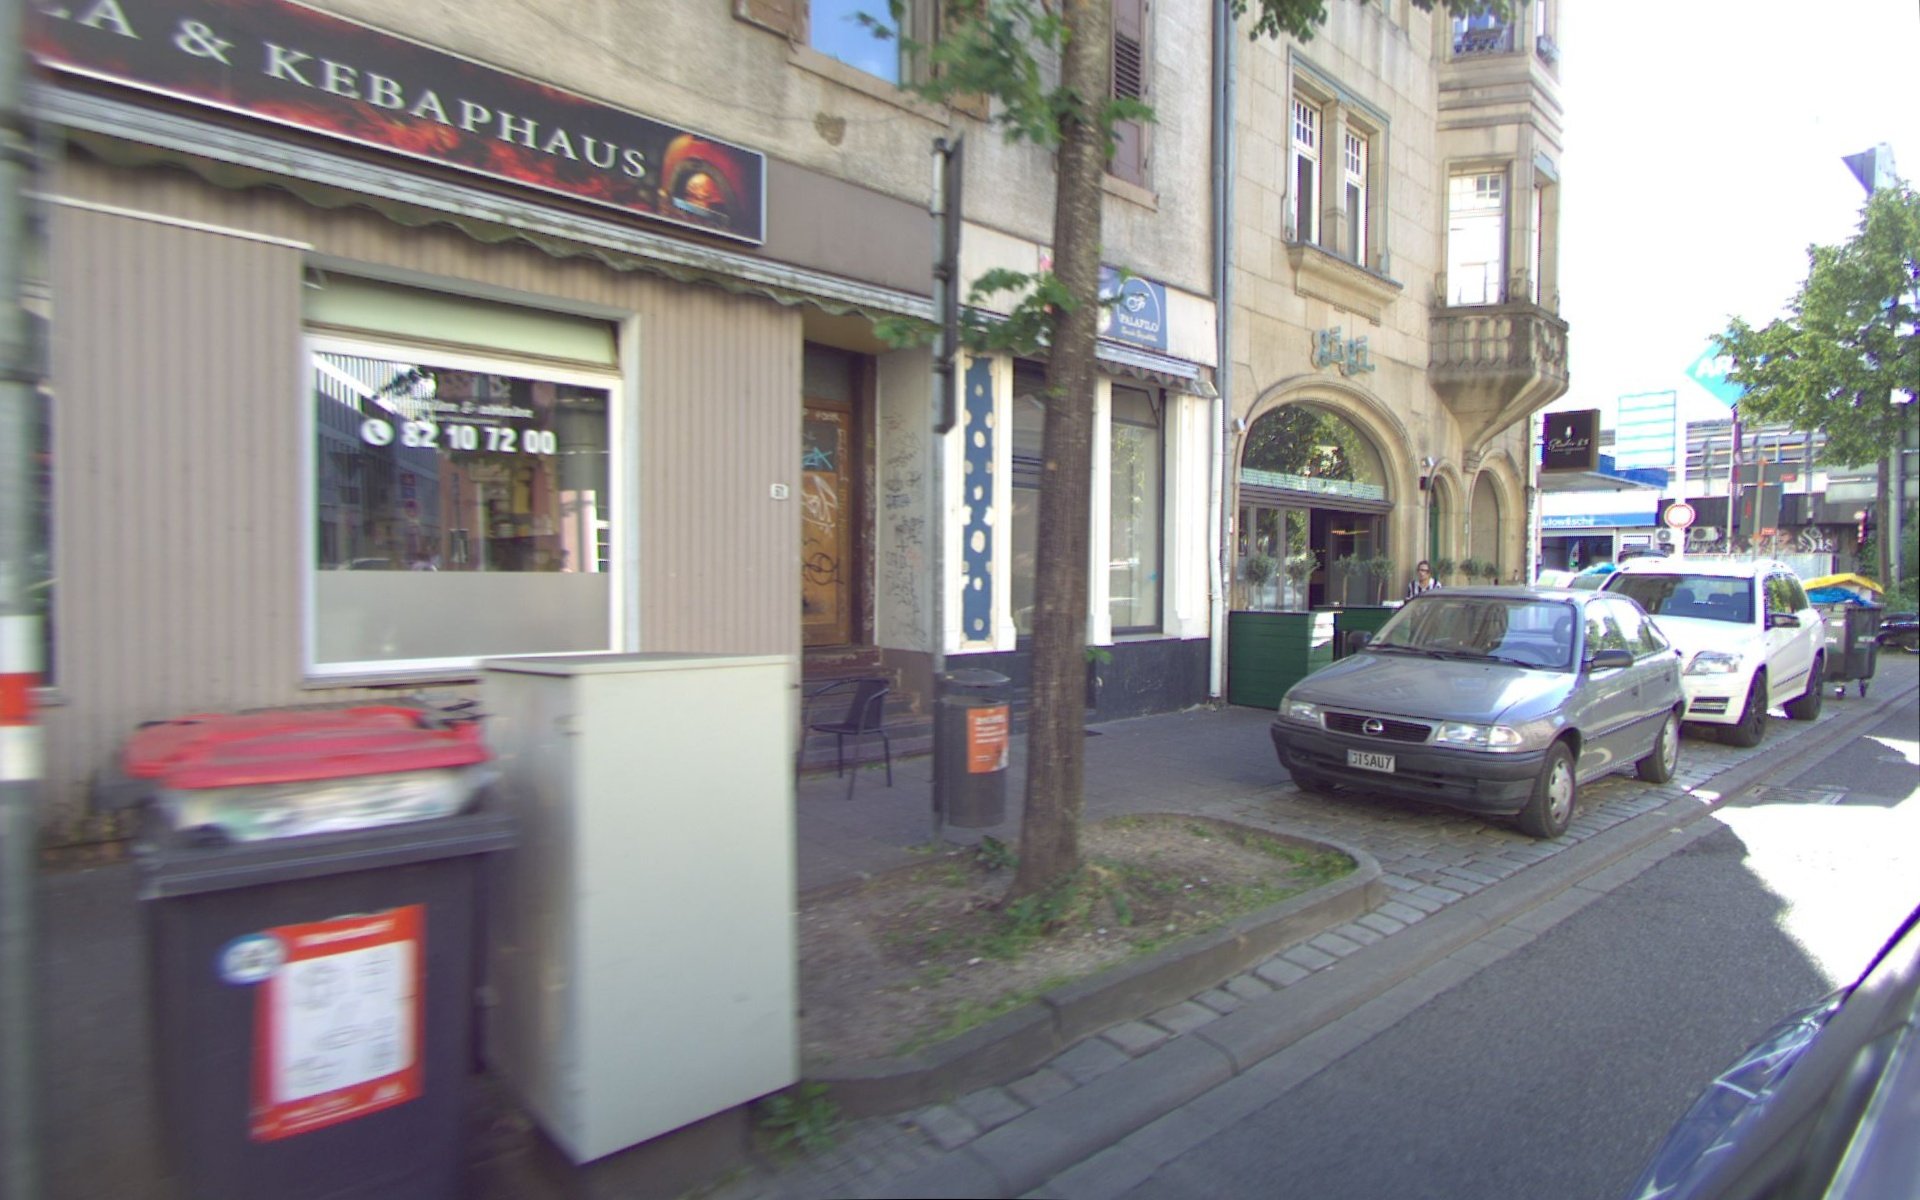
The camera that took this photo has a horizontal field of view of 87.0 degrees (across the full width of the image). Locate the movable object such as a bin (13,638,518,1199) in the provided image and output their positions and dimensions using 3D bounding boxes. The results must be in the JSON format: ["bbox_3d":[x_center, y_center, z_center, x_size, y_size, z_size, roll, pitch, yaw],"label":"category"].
[{"bbox_3d":[-1.414,0.745,2.084,0.686,1.228,0.944,-2,4,-40],"label":"movable object such as a bin"}]

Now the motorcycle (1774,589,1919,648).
[{"bbox_3d":[18.152,0.358,20.394,2.637,1.091,0.951,1,2,35],"label":"motorcycle"}]

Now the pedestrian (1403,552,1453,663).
[{"bbox_3d":[6.337,0.089,13.701,0.512,1.460,0.460,-1,1,-42],"label":"pedestrian"}]

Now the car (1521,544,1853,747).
[{"bbox_3d":[7.608,0.307,10.449,4.087,1.670,1.834,-1,4,-41],"label":"car"}]

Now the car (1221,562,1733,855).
[{"bbox_3d":[3.809,0.486,7.138,4.088,1.436,1.834,-1,4,-42],"label":"car"}]
